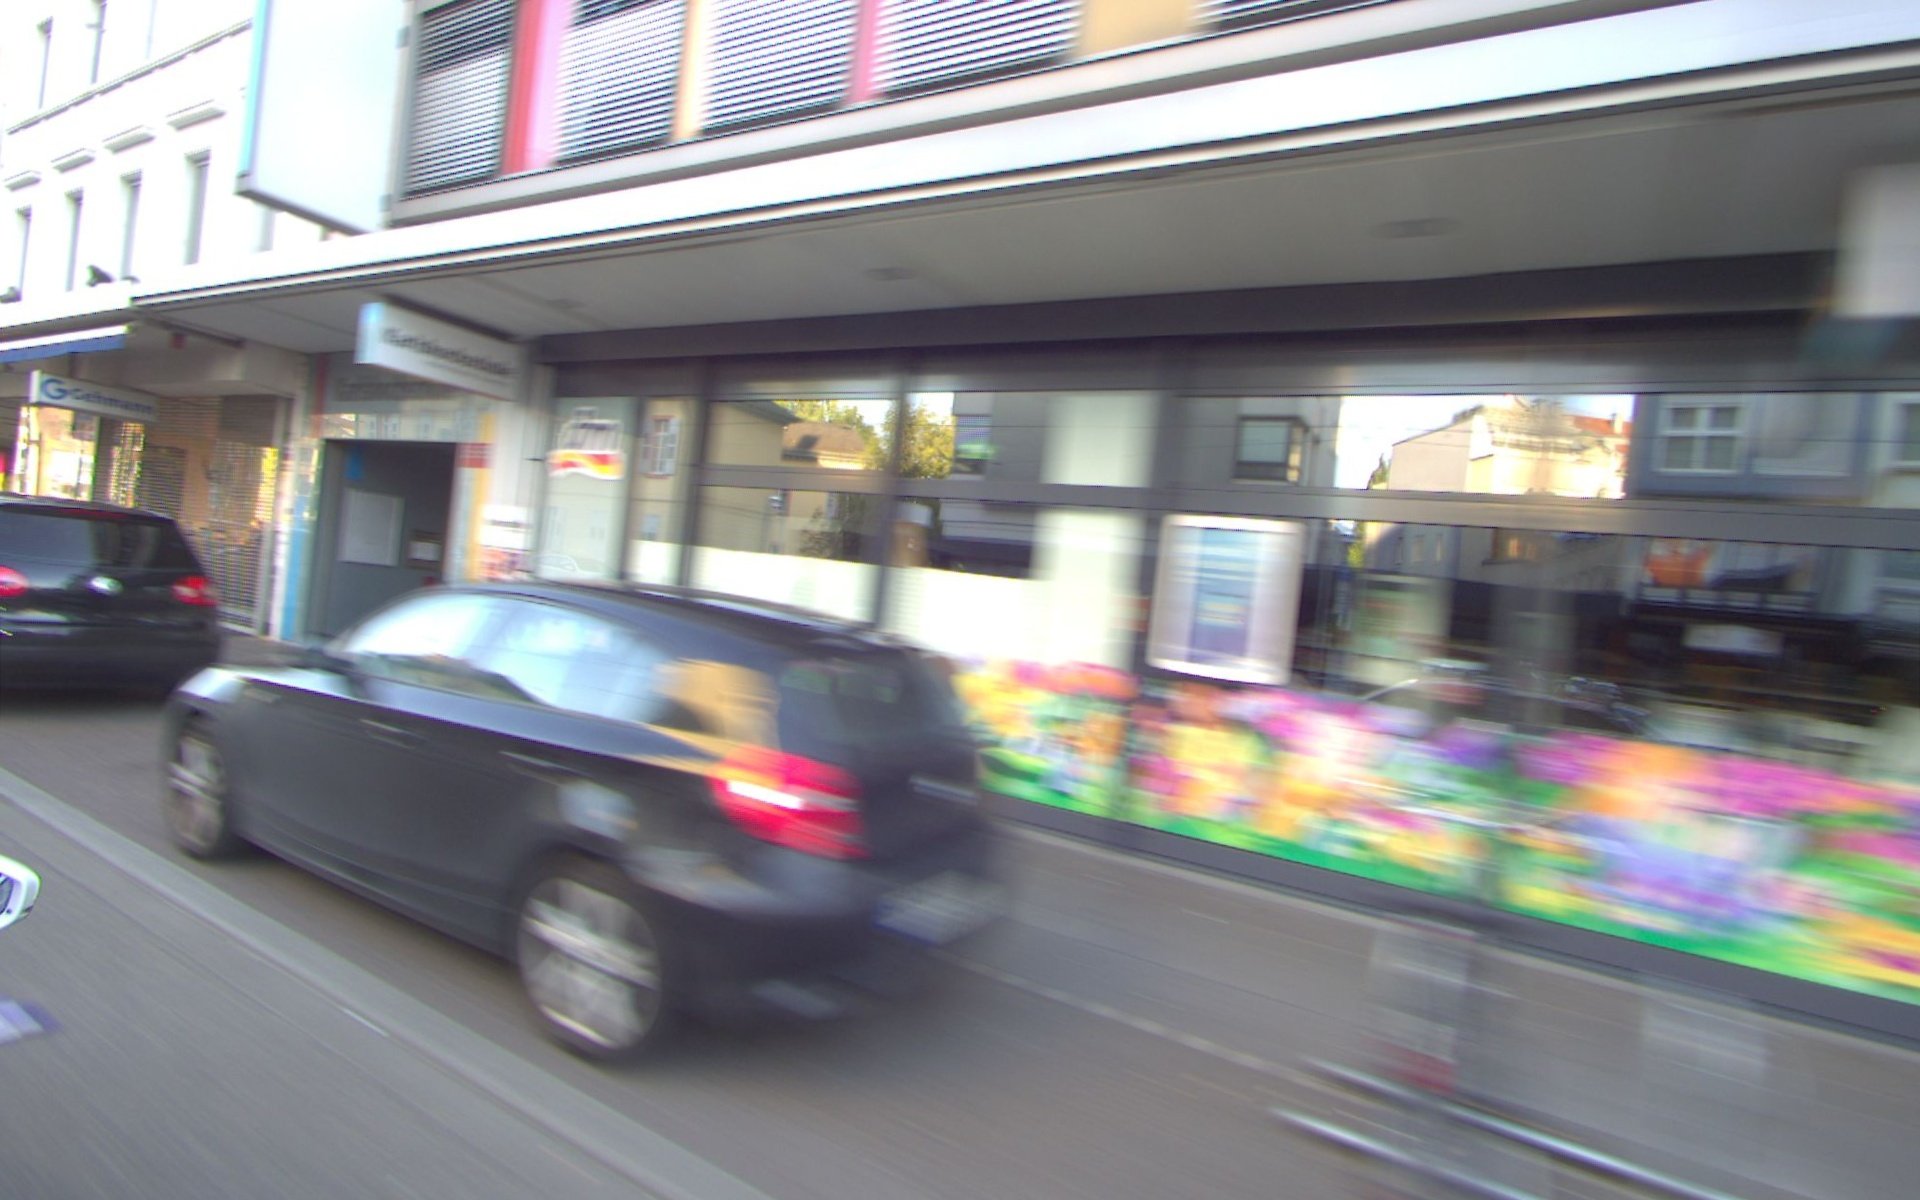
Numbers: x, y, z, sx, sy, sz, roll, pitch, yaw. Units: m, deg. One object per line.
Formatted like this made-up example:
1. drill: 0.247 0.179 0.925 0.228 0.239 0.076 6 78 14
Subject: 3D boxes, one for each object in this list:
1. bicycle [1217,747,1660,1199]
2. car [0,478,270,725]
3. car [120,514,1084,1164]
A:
1. bicycle: 1.218 1.058 2.581 0.631 1.124 1.842 7 1 28
2. car: -7.371 -0.109 7.779 4.004 1.531 1.769 6 -2 32
3. car: -1.691 0.603 4.315 3.956 1.479 1.658 6 -2 32
